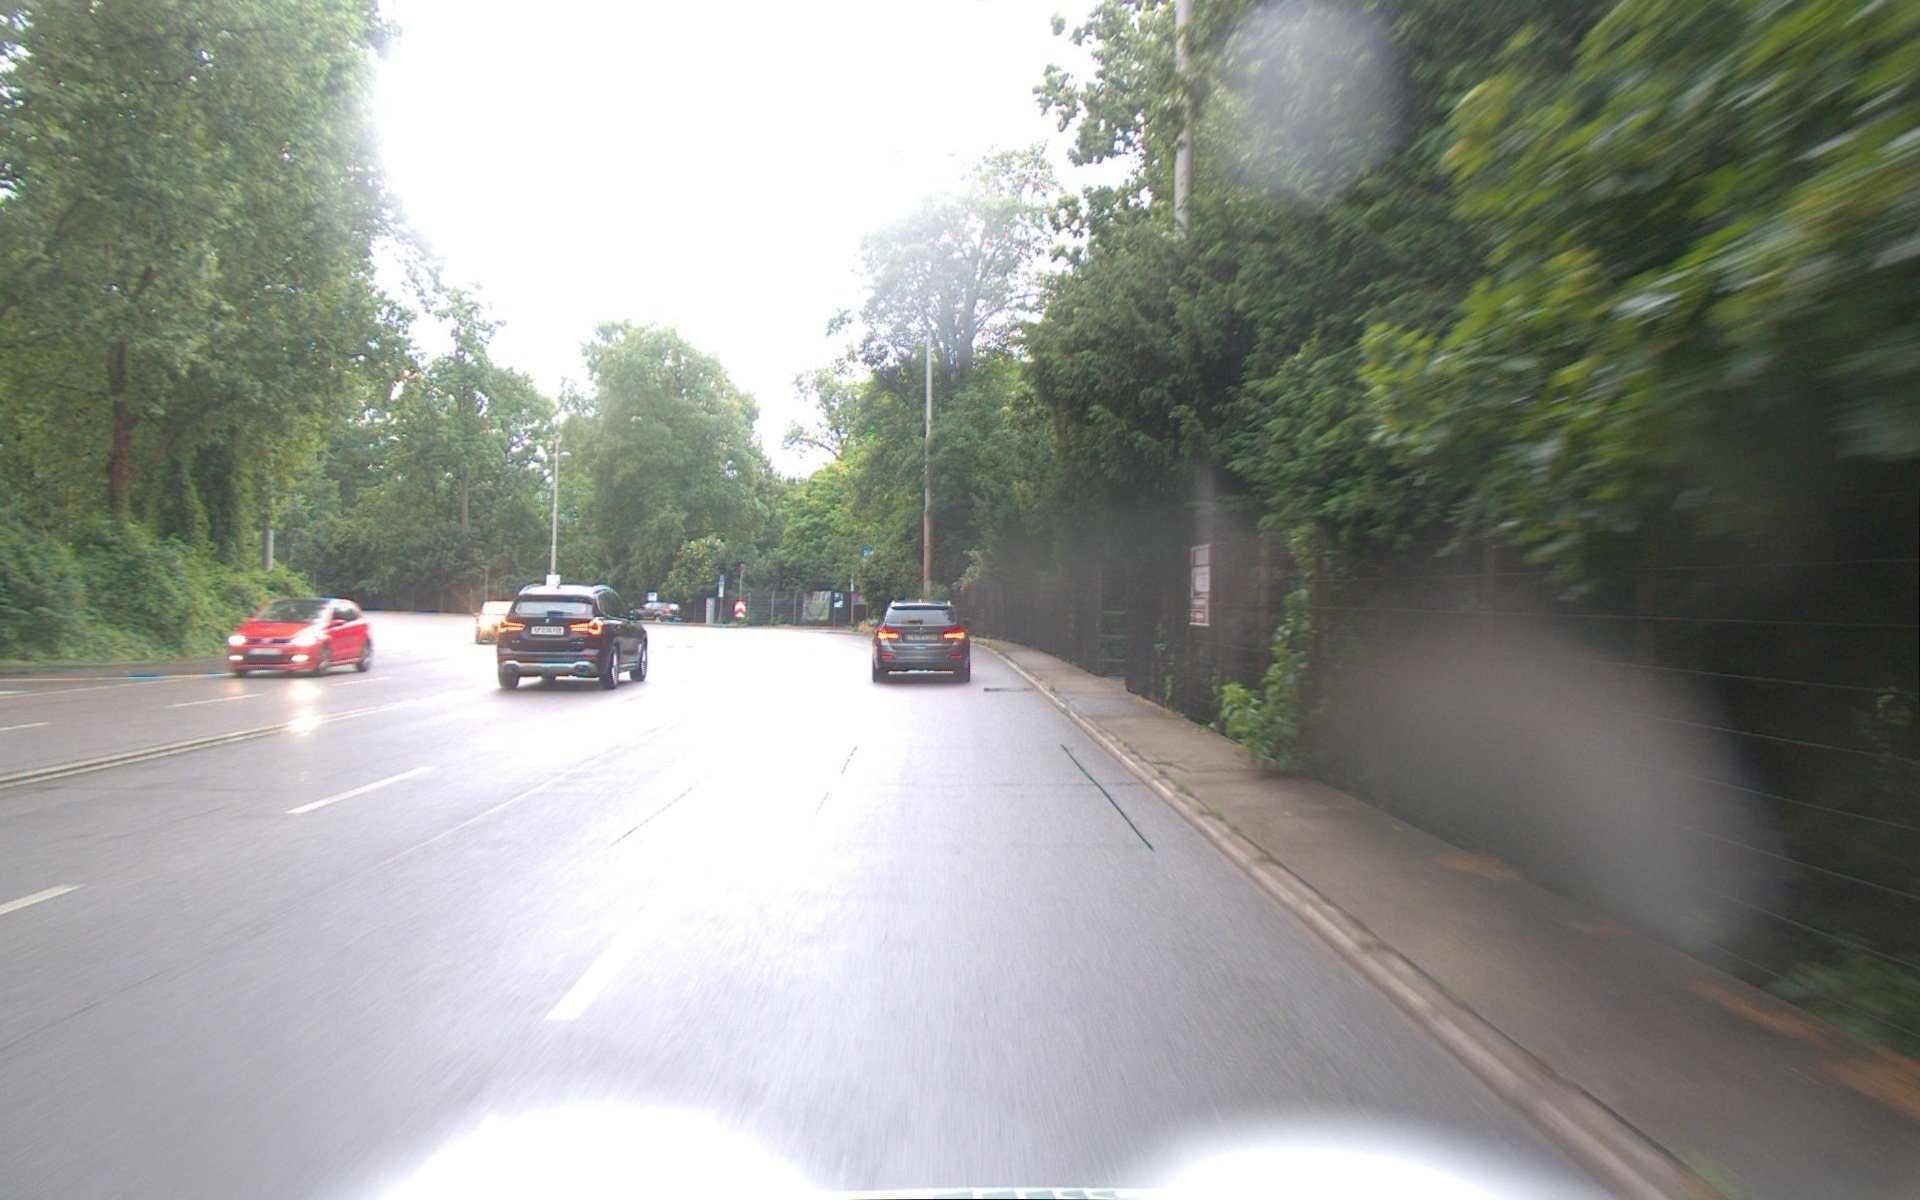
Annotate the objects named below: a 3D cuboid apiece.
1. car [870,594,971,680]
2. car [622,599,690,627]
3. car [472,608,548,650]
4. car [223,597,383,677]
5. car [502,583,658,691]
[{"bbox_3d":[-0.770,0.643,30.927,1.722,1.457,4.410,1,0,-2],"label":"car"},{"bbox_3d":[-18.096,0.785,98.379,4.293,1.451,1.682,1,-3,42],"label":"car"},{"bbox_3d":[-15.556,0.983,57.347,1.667,1.363,3.913,1,0,-2],"label":"car"},{"bbox_3d":[-12.518,0.664,31.768,1.548,1.439,3.961,1,0,-1],"label":"car"},{"bbox_3d":[-6.307,0.580,27.883,1.722,1.613,4.410,2,0,-2],"label":"car"}]
